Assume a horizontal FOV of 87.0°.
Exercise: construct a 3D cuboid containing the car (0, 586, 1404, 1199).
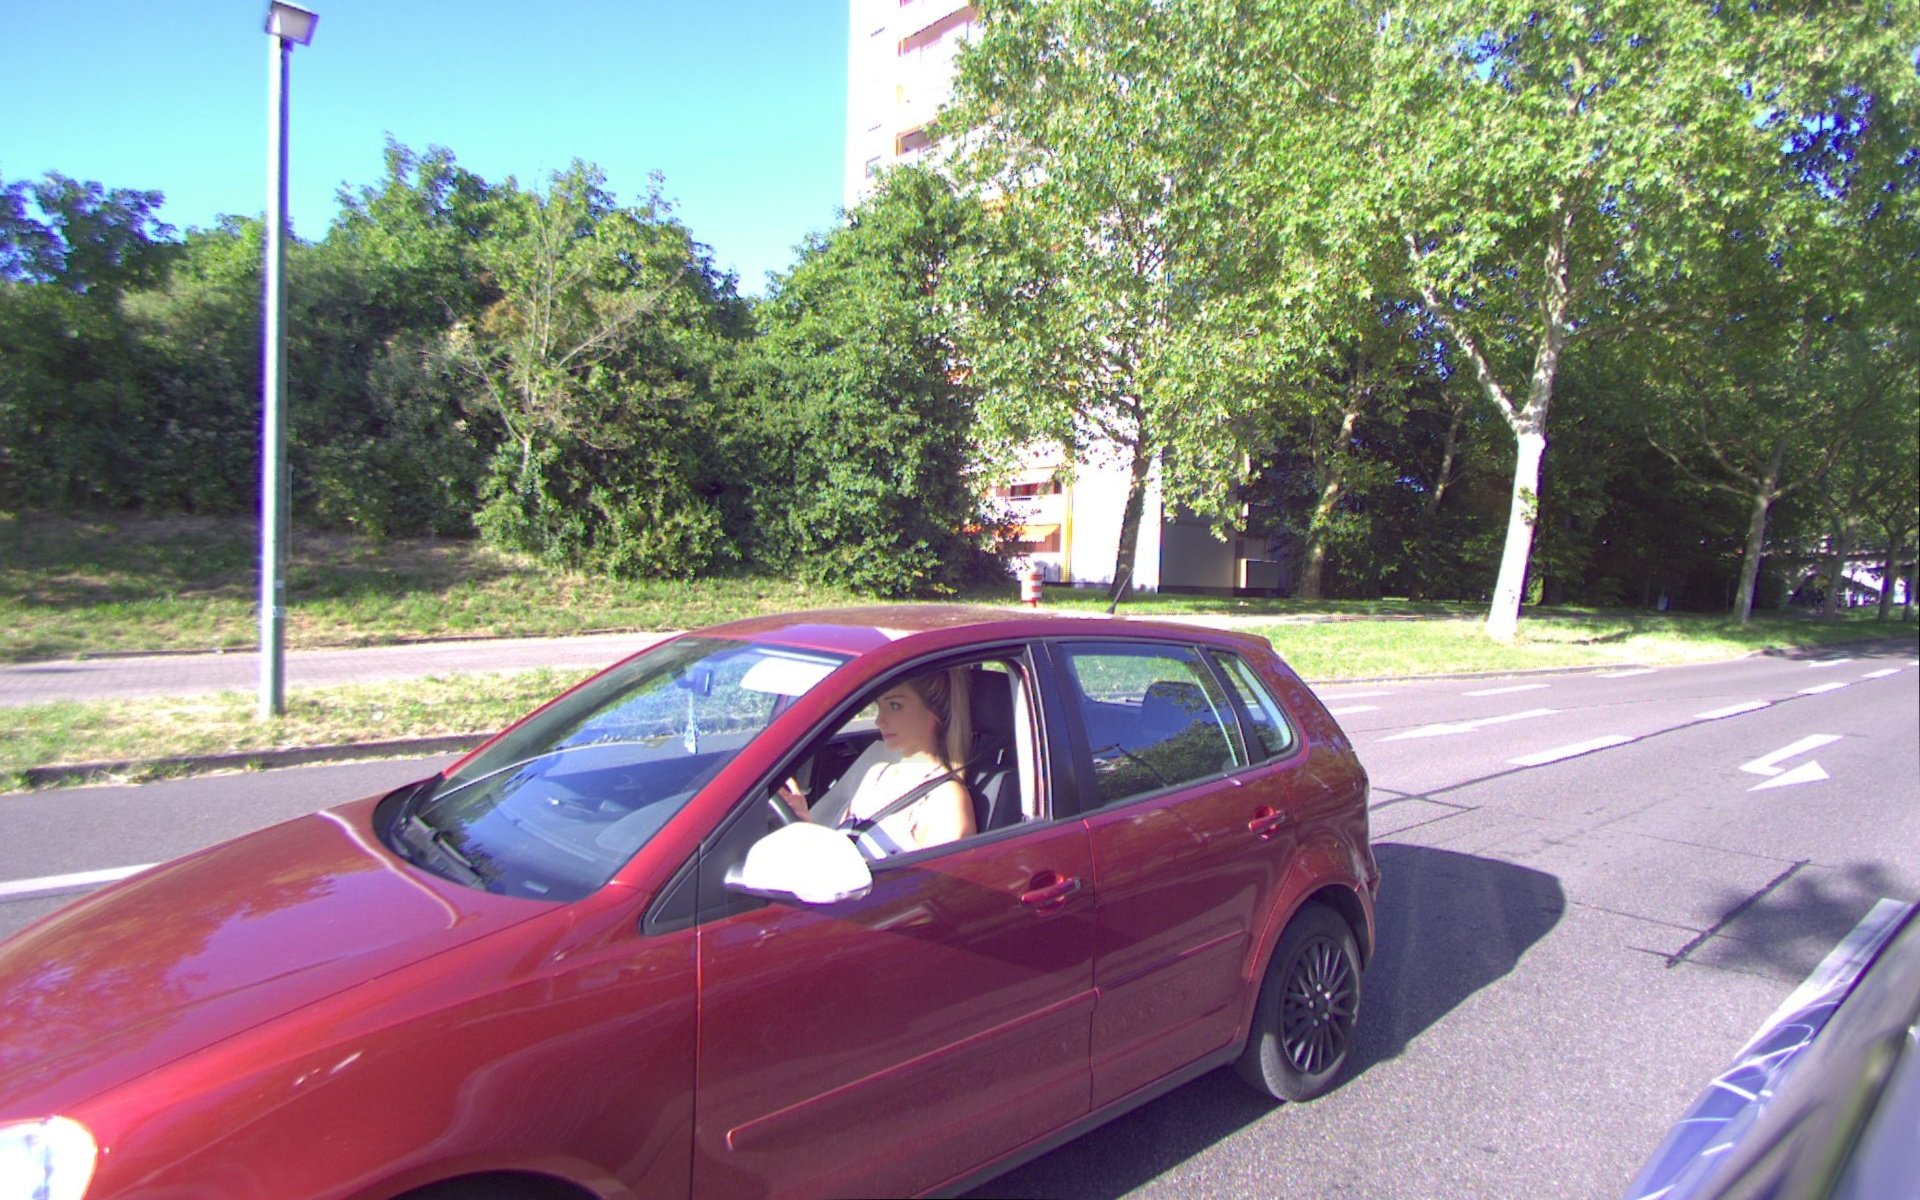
[{"bbox_3d":[-0.448,0.711,2.716,3.624,1.479,1.579,-1,0,-40],"label":"car"}]
